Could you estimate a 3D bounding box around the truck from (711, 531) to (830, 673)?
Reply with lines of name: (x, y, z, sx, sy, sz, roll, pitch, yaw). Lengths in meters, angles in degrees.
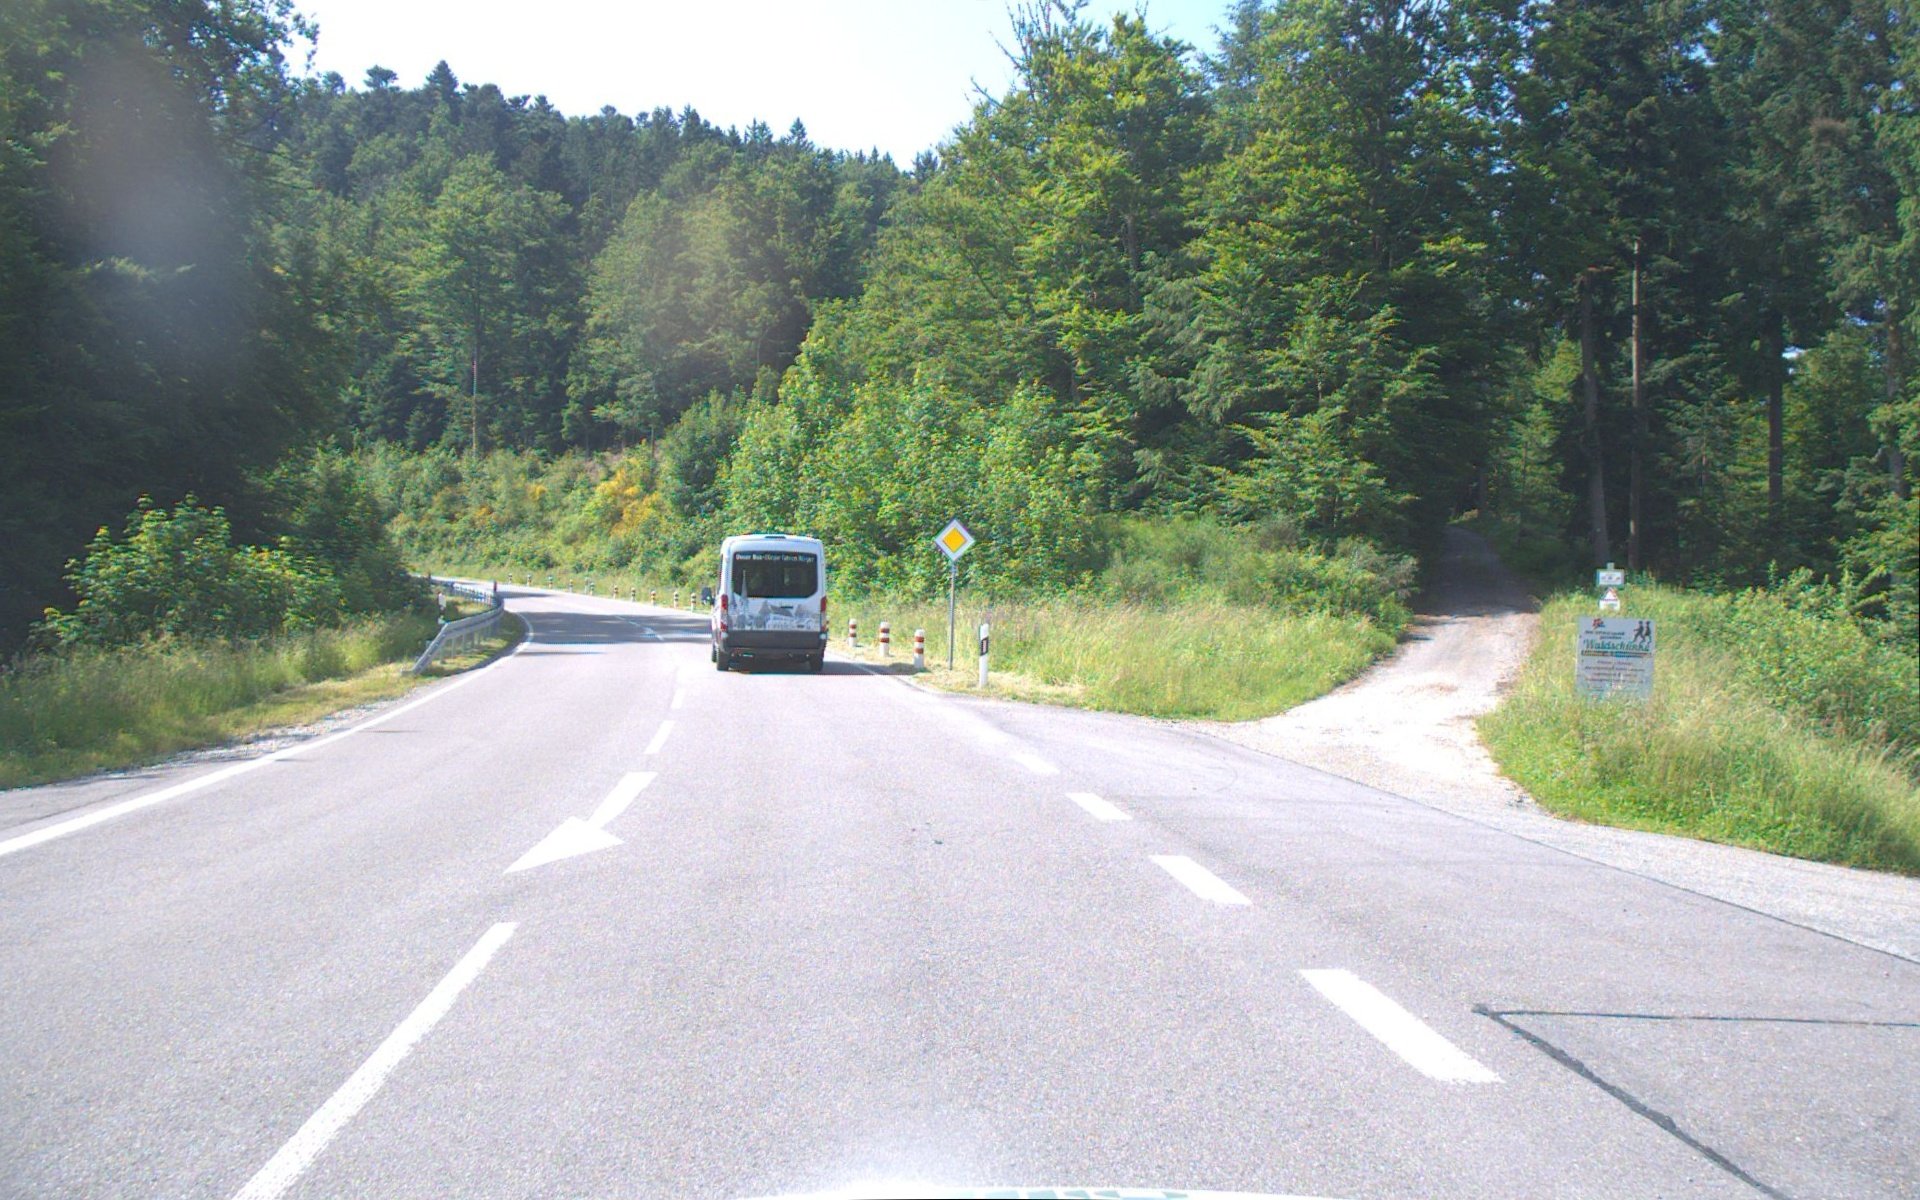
truck: (-3.786, 0.020, 32.252, 2.076, 2.542, 5.348, 0, 0, -9)
